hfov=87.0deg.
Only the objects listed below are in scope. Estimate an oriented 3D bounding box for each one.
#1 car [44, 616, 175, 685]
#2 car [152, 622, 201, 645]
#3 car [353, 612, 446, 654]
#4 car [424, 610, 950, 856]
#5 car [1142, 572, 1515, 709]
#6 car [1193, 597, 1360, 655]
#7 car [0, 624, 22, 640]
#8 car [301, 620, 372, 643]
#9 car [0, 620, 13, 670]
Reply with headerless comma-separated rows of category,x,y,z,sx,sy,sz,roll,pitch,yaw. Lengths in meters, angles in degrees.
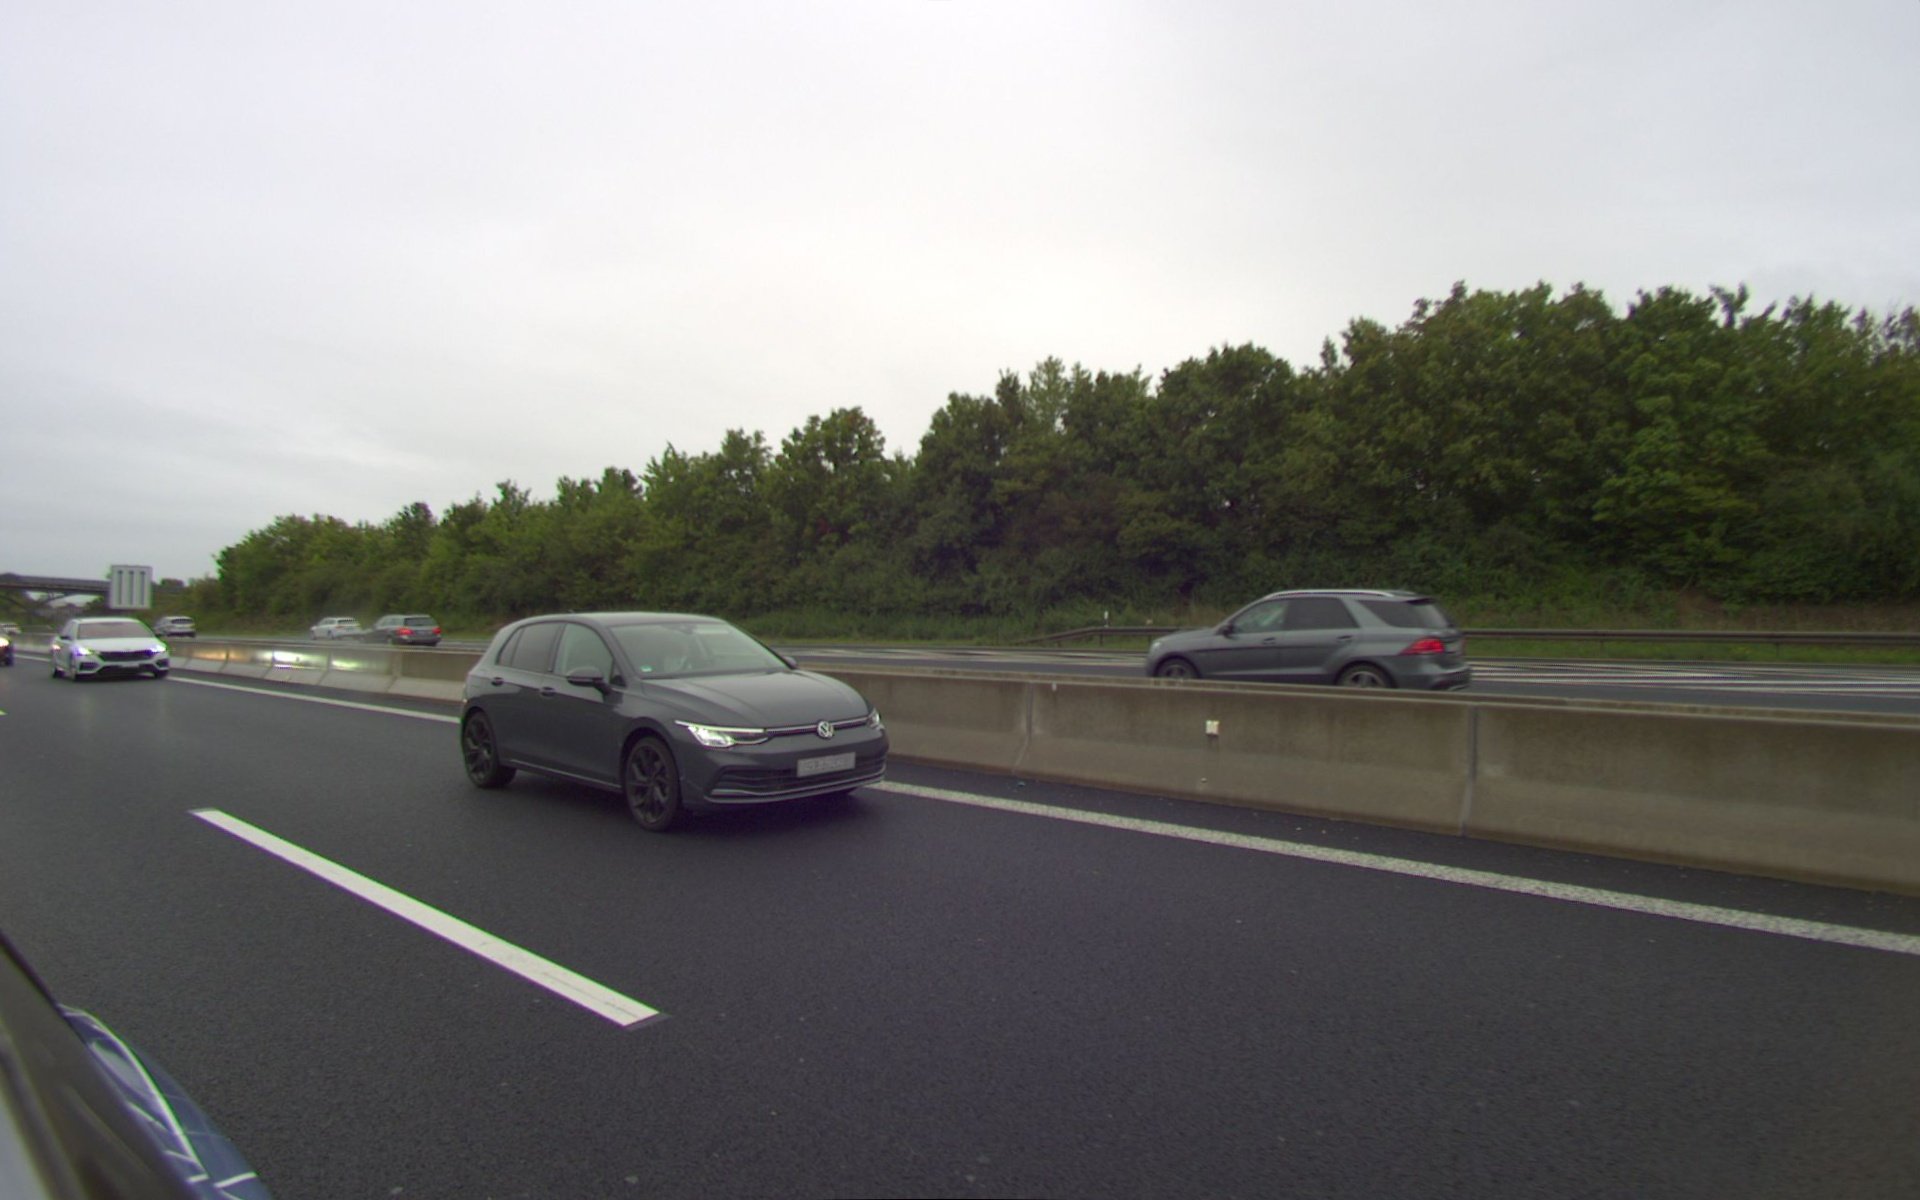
car,-20.493,1.159,24.330,4.113,1.518,1.880,-1,-1,42
car,-59.018,2.507,76.182,4.536,1.647,2.156,-1,-1,42
car,-24.480,1.404,44.084,5.251,1.708,2.155,-2,-1,44
car,-2.363,0.814,8.039,4.456,1.416,1.881,-1,-1,41
car,5.316,0.547,15.050,4.733,1.708,2.155,-2,-1,44
car,9.916,0.811,31.752,4.612,1.708,2.163,-1,-1,32
car,-94.540,3.144,100.234,4.137,1.518,1.962,-1,-1,41
car,-40.305,2.004,65.417,4.373,1.441,2.163,-1,-1,32
car,-31.018,1.391,31.543,4.113,1.518,1.880,-1,-1,42
